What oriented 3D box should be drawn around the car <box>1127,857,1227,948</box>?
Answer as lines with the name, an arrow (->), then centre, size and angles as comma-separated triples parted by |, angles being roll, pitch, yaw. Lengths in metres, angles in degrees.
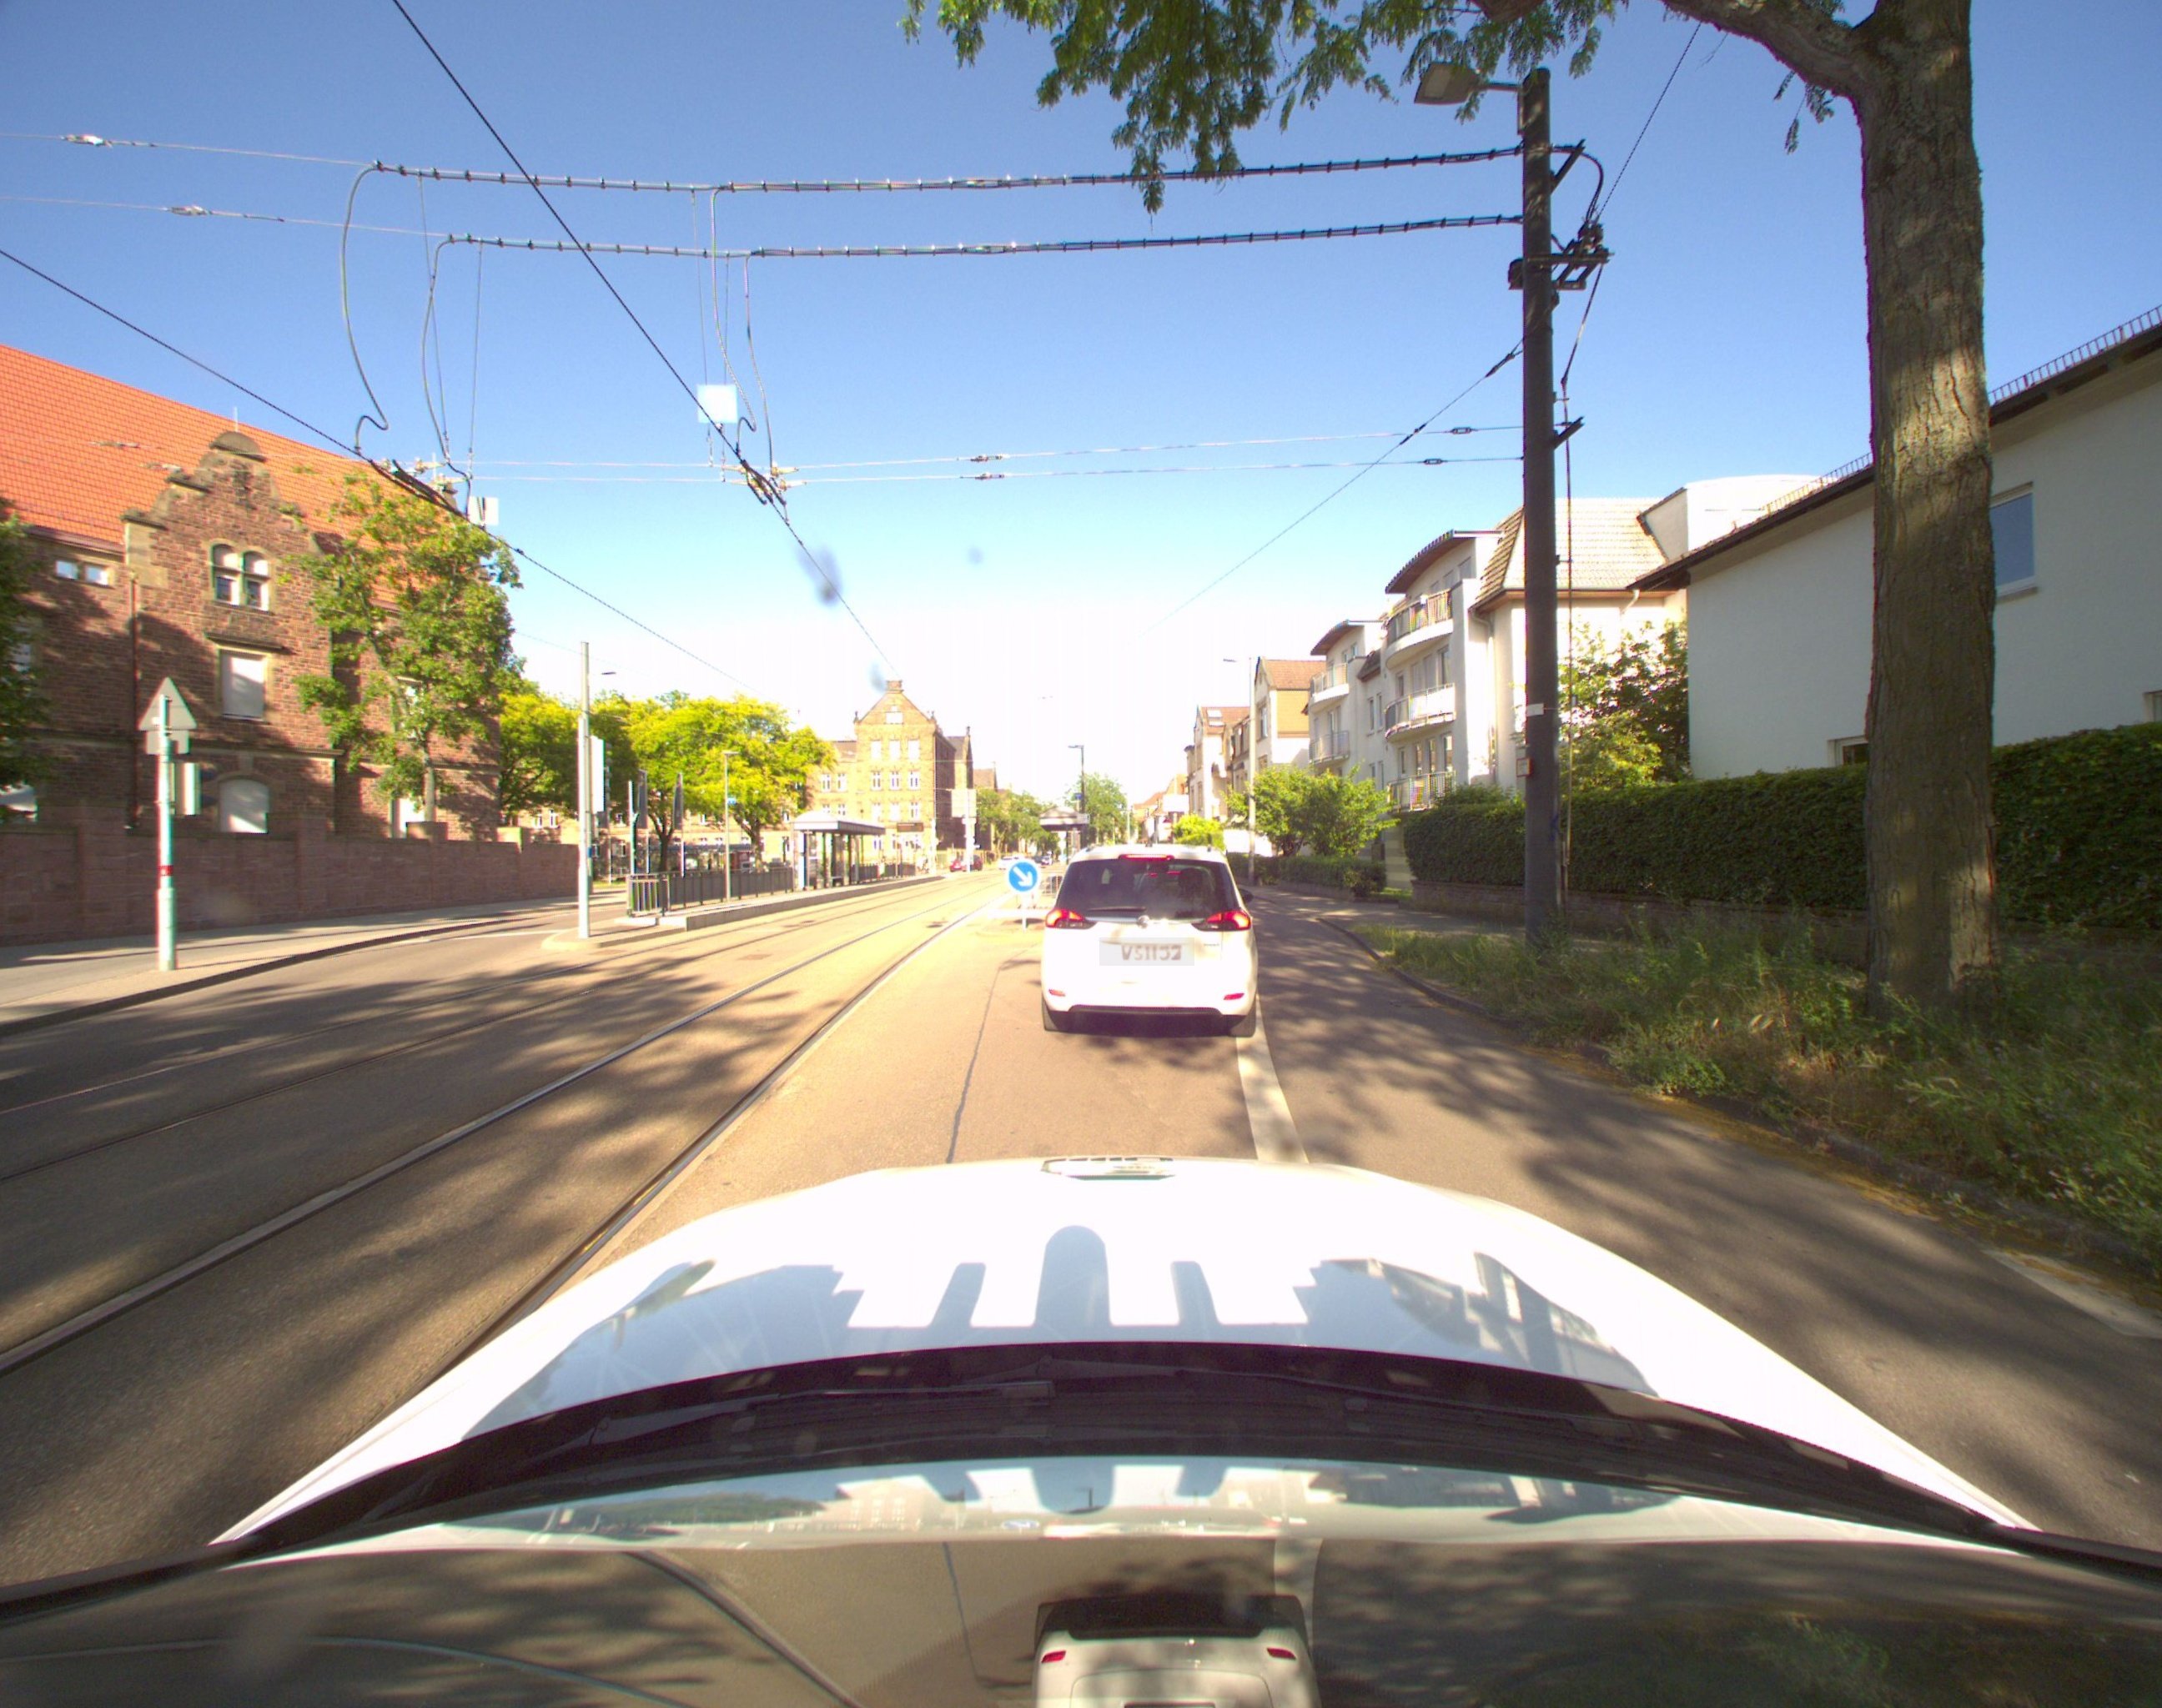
car -> 1.771, 0.773, 14.870 | 1.560, 1.401, 3.792 | 1, 0, 7

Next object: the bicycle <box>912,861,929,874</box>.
bicycle -> -15.180, 1.265, 77.038 | 0.810, 1.199, 1.958 | -2, -2, 12

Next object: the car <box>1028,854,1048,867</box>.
car -> -5.137, 0.757, 97.268 | 1.985, 1.596, 4.003 | -1, 0, 3

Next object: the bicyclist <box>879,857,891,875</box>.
bicyclist -> -16.396, 0.997, 68.204 | 0.650, 1.459, 1.152 | -1, 0, 2

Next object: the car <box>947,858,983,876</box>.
car -> -10.795, 1.187, 76.034 | 1.805, 1.607, 4.374 | -1, 0, 12

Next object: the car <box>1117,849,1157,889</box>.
car -> 2.457, 0.622, 36.376 | 1.590, 1.635, 3.903 | 1, 0, 2

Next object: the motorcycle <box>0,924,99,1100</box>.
motorcycle -> -7.783, 1.122, 5.026 | 0.912, 1.153, 2.417 | -1, 0, -14

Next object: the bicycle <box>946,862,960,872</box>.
bicycle -> -13.337, 1.350, 84.787 | 0.664, 1.072, 2.023 | 0, 0, 15

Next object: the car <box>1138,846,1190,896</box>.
car -> 2.911, 0.577, 29.242 | 1.590, 1.635, 3.903 | 1, 0, 2

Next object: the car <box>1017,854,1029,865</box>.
car -> -9.171, 0.885, 128.108 | 1.823, 1.617, 4.321 | -1, -1, -4

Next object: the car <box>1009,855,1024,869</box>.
car -> -8.673, 1.076, 109.346 | 1.823, 1.788, 4.249 | -1, 0, -3

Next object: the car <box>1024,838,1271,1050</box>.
car -> 0.754, 0.677, 8.199 | 1.868, 1.585, 4.008 | 0, 0, 7

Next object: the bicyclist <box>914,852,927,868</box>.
bicyclist -> -15.203, 0.598, 77.001 | 0.751, 1.471, 1.194 | -2, -1, 11

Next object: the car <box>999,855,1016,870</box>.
car -> -9.083, 1.000, 100.825 | 1.693, 1.809, 3.998 | -1, 0, -1

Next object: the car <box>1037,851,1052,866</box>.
car -> -5.016, 0.601, 113.238 | 1.988, 2.013, 3.997 | -1, 0, -2

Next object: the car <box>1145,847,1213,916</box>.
car -> 2.558, 0.644, 21.108 | 1.560, 1.614, 3.792 | 1, 0, 7
